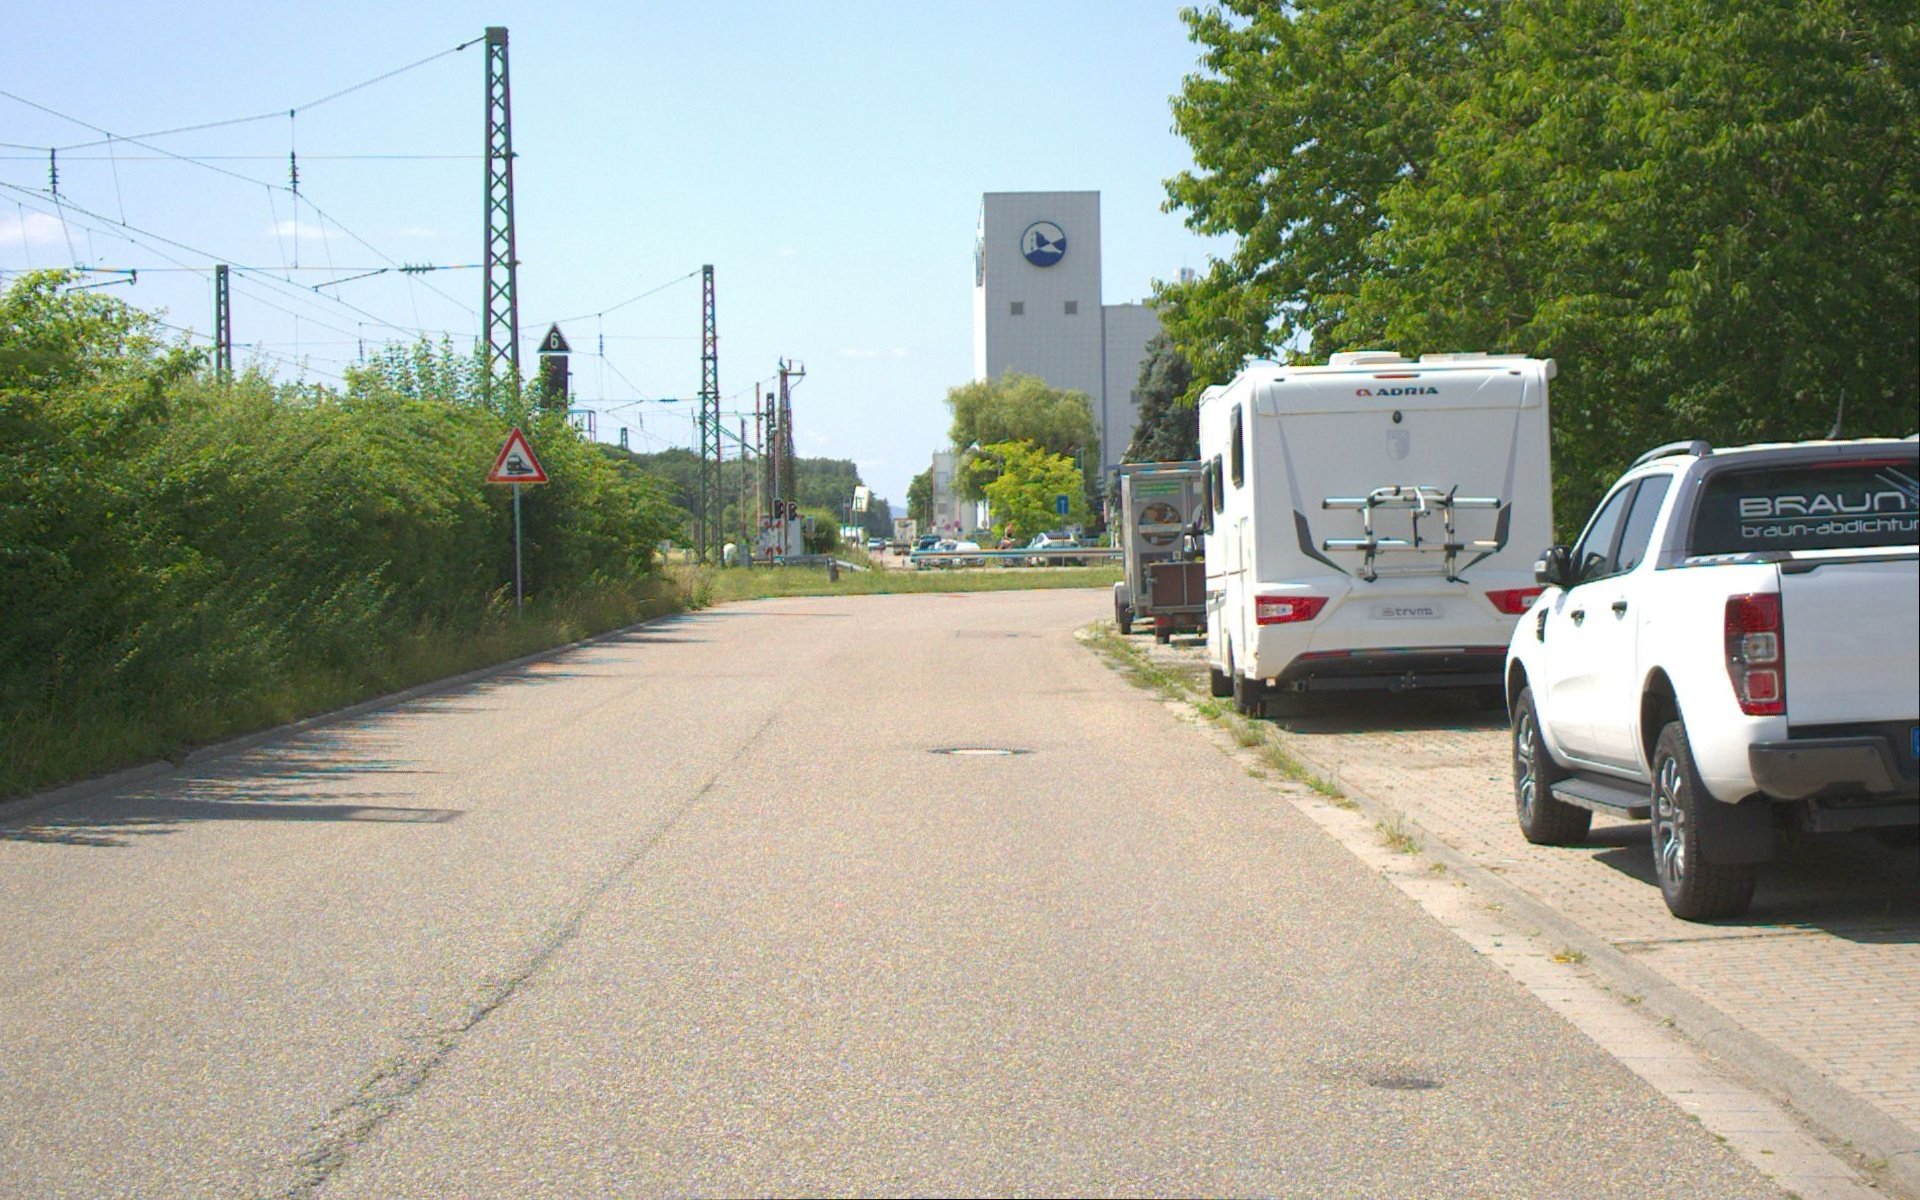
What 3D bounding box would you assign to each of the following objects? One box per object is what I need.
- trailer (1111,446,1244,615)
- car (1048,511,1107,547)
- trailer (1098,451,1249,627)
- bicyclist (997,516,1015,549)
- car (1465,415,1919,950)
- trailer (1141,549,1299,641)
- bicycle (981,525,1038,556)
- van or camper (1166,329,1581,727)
[{"bbox_3d":[3.736,-1.197,58.273,1.933,2.635,5.183,-3,1,6],"label":"trailer"},{"bbox_3d":[5.143,-3.134,151.337,1.993,1.504,4.455,-1,1,-6],"label":"car"},{"bbox_3d":[3.249,-0.952,53.176,1.919,2.499,4.741,-3,1,0],"label":"trailer"},{"bbox_3d":[1.748,-2.544,130.114,0.511,1.251,0.468,0,2,32],"label":"bicyclist"},{"bbox_3d":[3.523,0.202,14.508,1.847,1.808,5.425,-2,1,-1],"label":"car"},{"bbox_3d":[3.565,-0.096,47.789,2.005,1.119,4.488,-3,1,3],"label":"trailer"},{"bbox_3d":[1.865,-2.249,130.063,2.143,1.161,0.660,0,2,32],"label":"bicycle"},{"bbox_3d":[3.250,-0.608,28.925,2.439,2.817,7.624,-2,1,0],"label":"van or camper"}]
